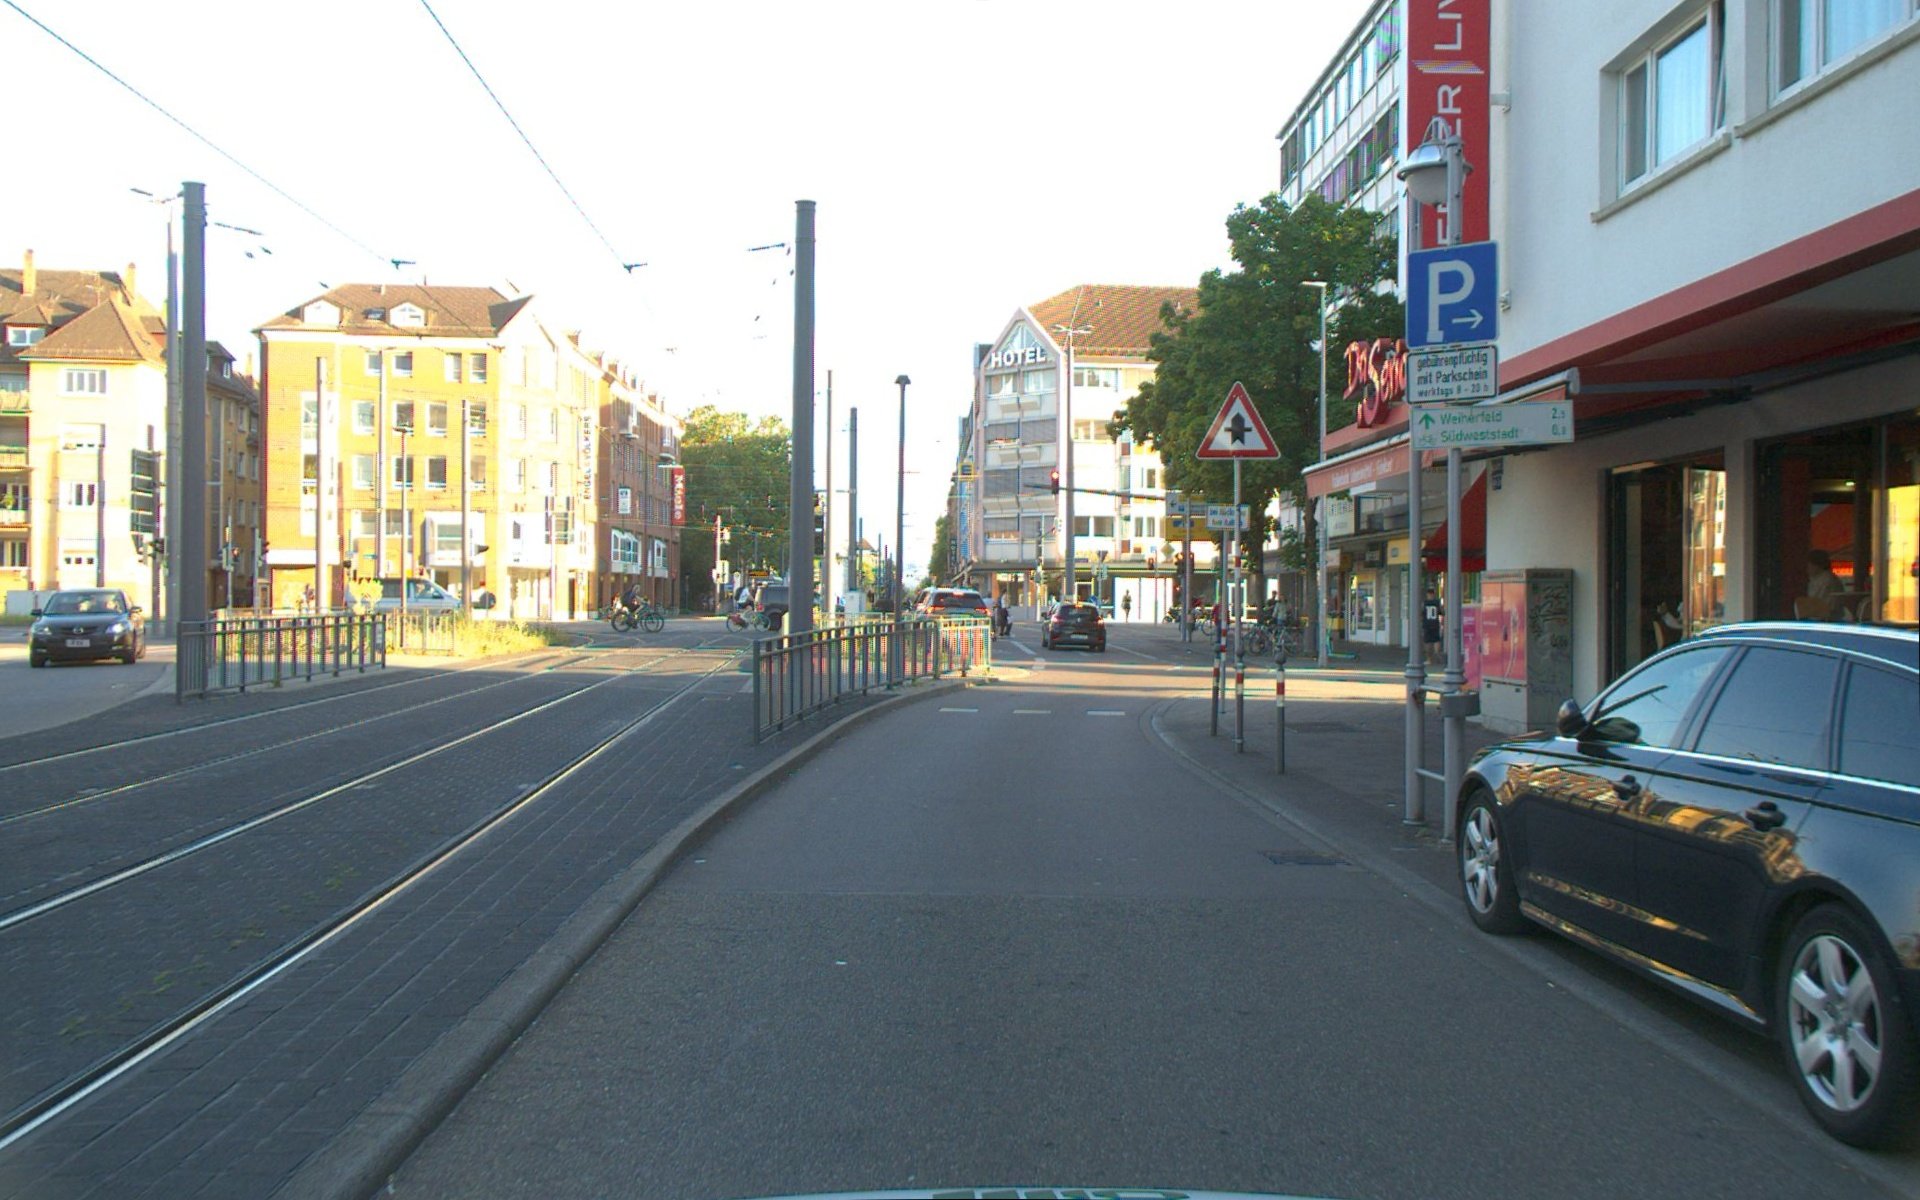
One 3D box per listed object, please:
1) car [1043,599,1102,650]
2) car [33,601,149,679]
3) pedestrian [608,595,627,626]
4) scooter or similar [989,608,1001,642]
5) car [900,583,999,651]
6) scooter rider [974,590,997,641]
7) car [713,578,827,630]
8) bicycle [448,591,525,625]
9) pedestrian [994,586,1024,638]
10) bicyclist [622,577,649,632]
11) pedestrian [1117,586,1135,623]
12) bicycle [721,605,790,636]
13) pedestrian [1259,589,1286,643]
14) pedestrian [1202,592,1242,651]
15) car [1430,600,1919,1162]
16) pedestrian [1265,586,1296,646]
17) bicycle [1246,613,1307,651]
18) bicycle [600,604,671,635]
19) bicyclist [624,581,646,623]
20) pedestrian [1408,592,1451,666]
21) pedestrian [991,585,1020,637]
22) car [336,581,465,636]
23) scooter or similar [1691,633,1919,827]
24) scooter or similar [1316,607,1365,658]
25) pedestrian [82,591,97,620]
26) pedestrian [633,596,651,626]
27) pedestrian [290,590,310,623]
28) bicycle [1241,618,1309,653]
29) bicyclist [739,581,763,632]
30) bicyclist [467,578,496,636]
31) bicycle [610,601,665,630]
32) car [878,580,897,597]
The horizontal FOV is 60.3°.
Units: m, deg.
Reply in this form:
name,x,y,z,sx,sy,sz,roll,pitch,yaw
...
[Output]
name,x,y,z,sx,sy,sz,roll,pitch,yaw
car,3.424,0.704,50.136,1.727,1.465,4.002,0,0,4
car,-16.760,0.727,32.051,1.744,1.400,4.189,0,0,-25
pedestrian,-23.198,0.739,112.150,1.072,2.049,0.908,2,-1,-4
scooter or similar,1.168,0.840,55.261,0.273,1.110,1.258,2,-1,5
car,-0.325,0.425,42.735,1.803,1.665,4.078,1,0,-12
scooter rider,0.842,0.507,55.098,0.648,1.676,0.661,2,-1,7
car,-7.827,0.173,68.007,4.482,2.072,1.993,0,0,-14
bicycle,-17.017,0.284,59.435,2.602,1.119,0.433,2,-1,-21
pedestrian,1.782,0.431,59.941,0.975,1.862,0.728,2,-1,-3
bicyclist,-12.320,0.173,62.843,0.848,2.049,0.642,2,-1,-21
pedestrian,8.079,0.220,80.454,0.731,1.809,0.800,2,-1,1
bicycle,-7.879,0.794,63.719,2.590,1.119,0.435,2,-1,-8
pedestrian,10.782,0.547,57.085,0.731,1.809,0.800,2,-1,2
pedestrian,7.800,0.627,49.252,0.809,1.714,1.045,2,-1,-11
car,3.303,0.759,5.928,1.754,1.437,4.685,2,0,-2
pedestrian,9.863,0.480,50.882,0.731,1.809,0.973,2,-1,0
bicycle,8.873,0.899,46.427,1.622,0.991,0.386,2,-1,5
bicycle,-12.326,0.748,62.834,2.602,1.119,0.433,2,-1,-21
bicyclist,-12.137,0.086,61.768,0.692,1.538,0.547,-2,0,-17
pedestrian,11.101,0.686,39.114,0.731,1.713,0.894,2,-1,0
pedestrian,1.662,0.412,60.736,0.974,1.862,0.728,2,-1,-1
car,-21.557,0.309,63.892,4.608,2.049,1.991,0,0,-17
scooter or similar,5.732,0.844,11.181,1.413,1.215,0.333,0,0,43
scooter or similar,9.383,0.802,40.810,1.200,1.239,0.292,-1,-3,45
pedestrian,-50.793,0.325,96.531,0.539,1.671,0.500,2,-1,-3
pedestrian,-22.495,0.760,116.931,1.072,2.049,1.162,2,-1,-4
pedestrian,-35.667,0.370,89.405,0.674,1.773,0.667,0,-2,23
bicycle,8.657,0.978,45.469,1.779,0.907,0.415,2,-1,5
bicyclist,-8.043,0.257,63.672,0.844,1.911,0.645,2,-1,-8
bicyclist,-17.150,0.242,59.276,0.848,2.049,0.642,2,-1,-22
bicycle,-12.048,0.583,61.798,1.997,1.046,0.416,1,0,-7
car,-8.596,-1.398,196.568,1.953,1.934,3.999,2,0,-1
